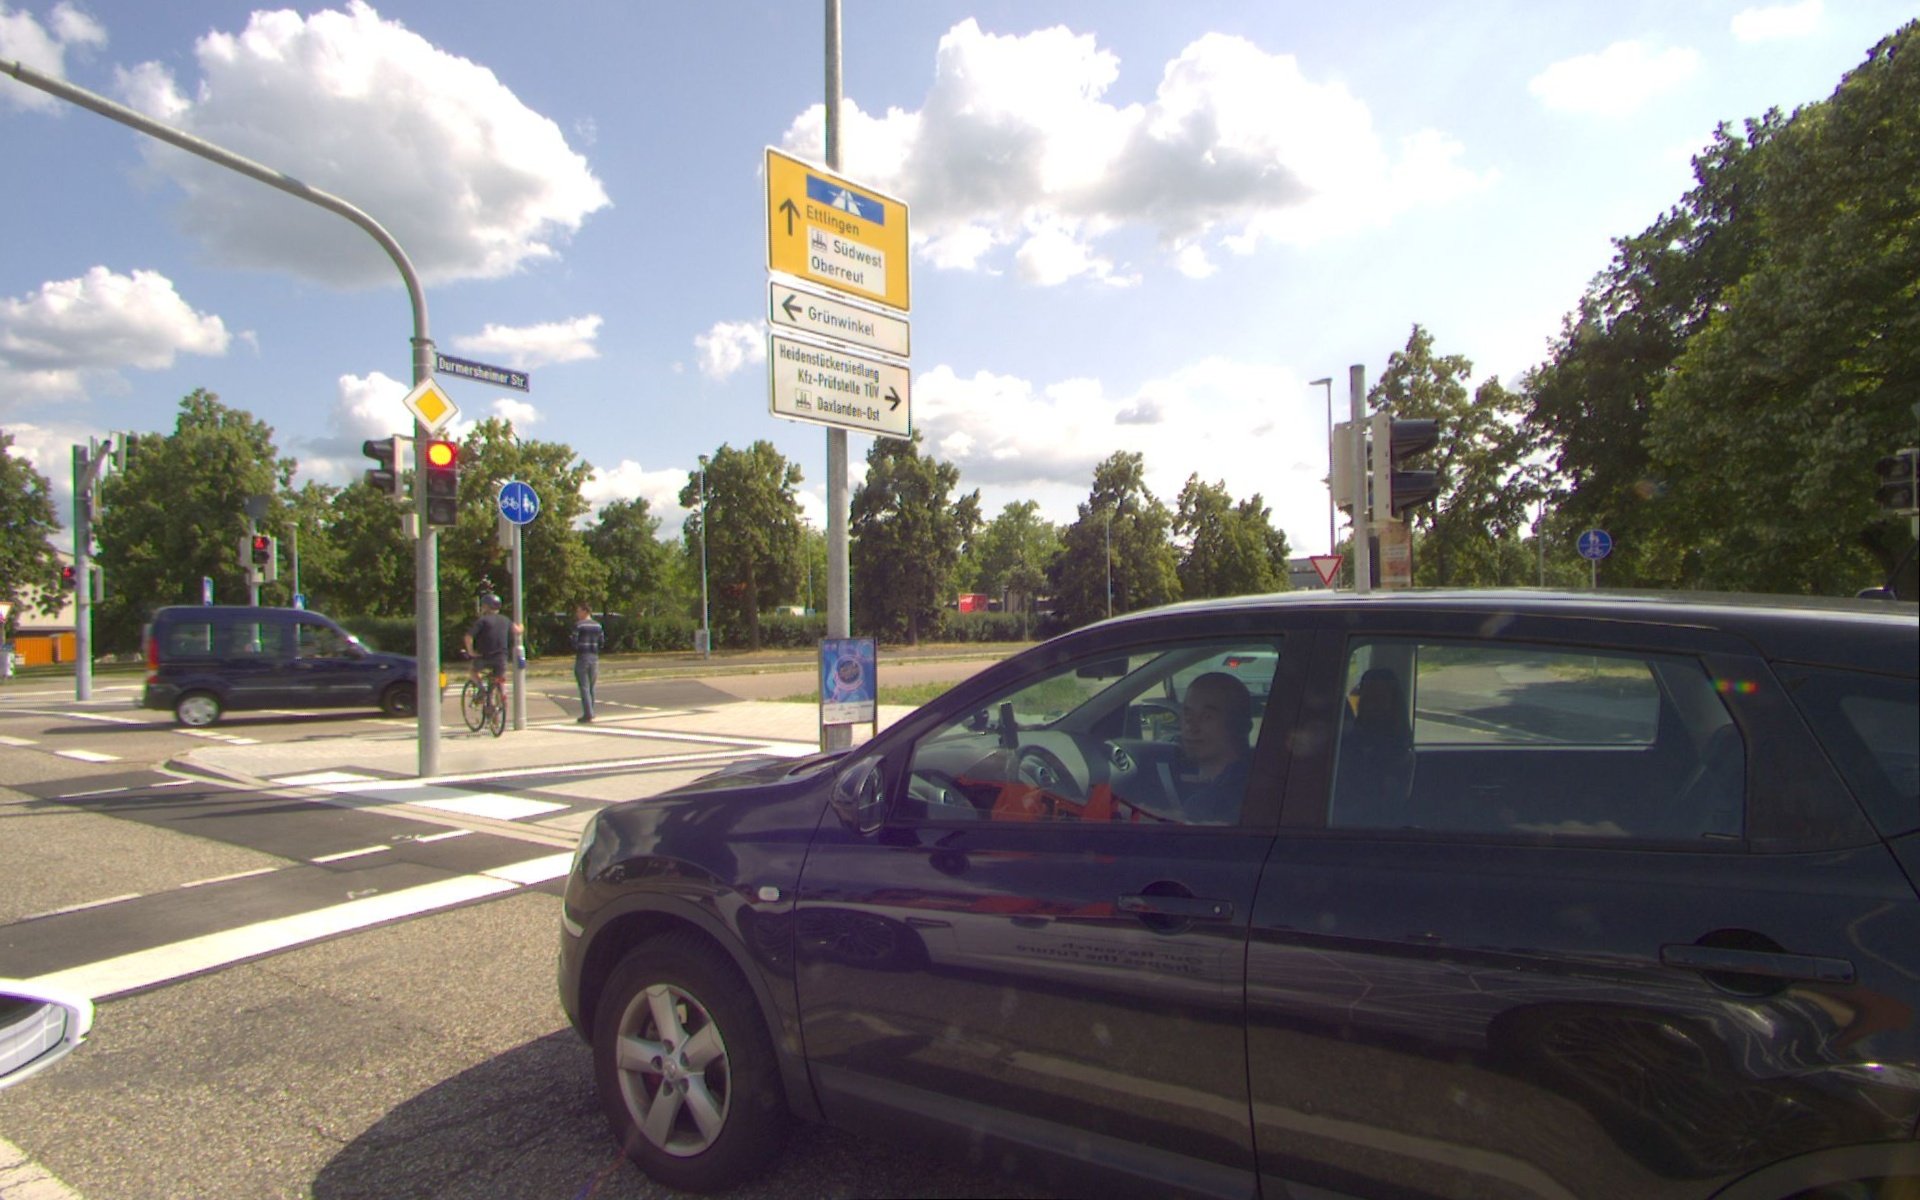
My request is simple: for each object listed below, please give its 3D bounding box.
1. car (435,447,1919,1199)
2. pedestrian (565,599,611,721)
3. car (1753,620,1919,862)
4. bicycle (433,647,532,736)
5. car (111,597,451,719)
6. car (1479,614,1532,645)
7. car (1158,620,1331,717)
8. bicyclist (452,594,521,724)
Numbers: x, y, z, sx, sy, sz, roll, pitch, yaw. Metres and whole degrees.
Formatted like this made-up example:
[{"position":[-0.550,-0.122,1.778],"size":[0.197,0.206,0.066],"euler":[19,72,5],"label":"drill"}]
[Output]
[{"position":[0.618,0.672,2.707],"size":[3.941,1.571,1.798],"euler":[-2,-4,31],"label":"car"},{"position":[-5.598,0.903,15.077],"size":[0.477,1.800,0.462],"euler":[-2,-3,42],"label":"pedestrian"},{"position":[7.885,0.933,6.274],"size":[1.744,1.669,4.225],"euler":[1,-4,-25],"label":"car"},{"position":[-6.499,1.215,13.574],"size":[0.644,1.121,1.910],"euler":[3,-4,-43],"label":"bicycle"},{"position":[-10.452,0.921,15.722],"size":[4.178,1.680,1.730],"euler":[2,-4,-35],"label":"car"},{"position":[23.191,1.307,42.663],"size":[1.886,1.192,3.767],"euler":[-2,-4,27],"label":"car"},{"position":[4.835,1.116,17.619],"size":[1.704,1.505,4.093],"euler":[0,-1,-3],"label":"car"},{"position":[-6.365,0.791,13.452],"size":[0.644,1.682,0.644],"euler":[2,-4,-44],"label":"bicyclist"}]
